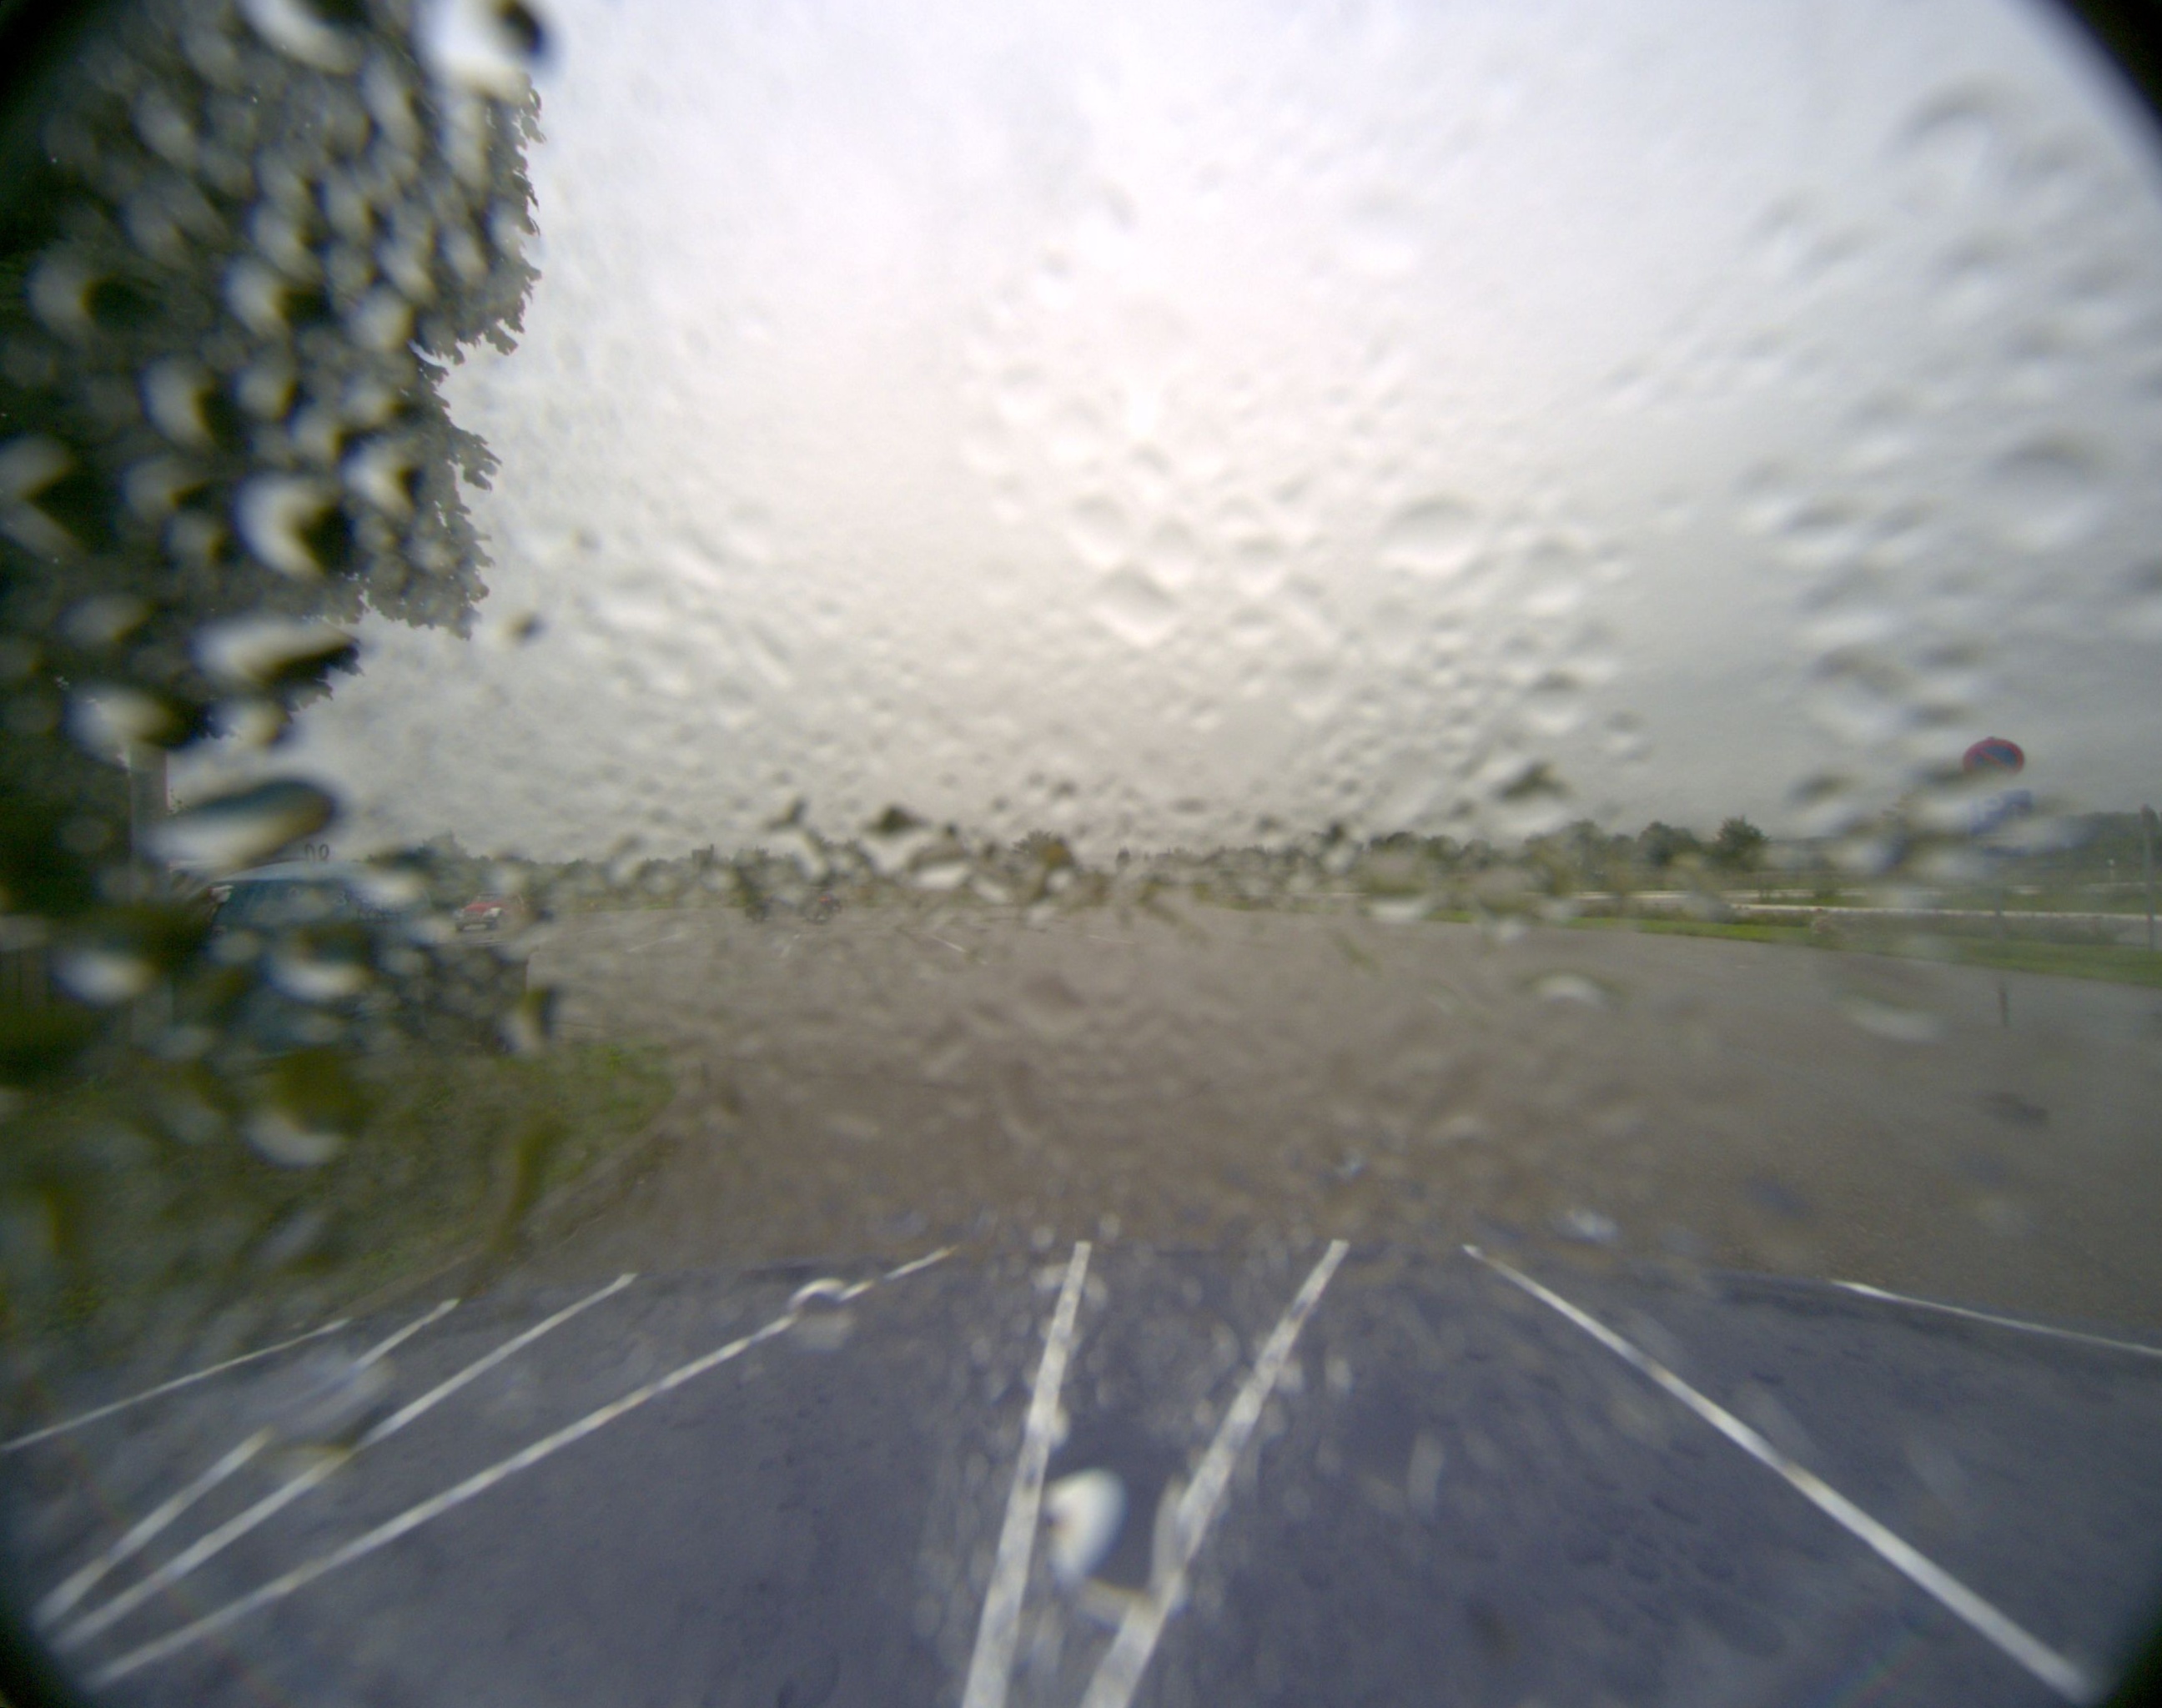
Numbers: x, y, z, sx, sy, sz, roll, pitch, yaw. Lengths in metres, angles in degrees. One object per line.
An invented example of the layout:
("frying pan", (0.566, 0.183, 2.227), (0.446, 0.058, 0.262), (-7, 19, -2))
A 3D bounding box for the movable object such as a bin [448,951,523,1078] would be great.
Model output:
("movable object such as a bin", (-4.949, 1.303, 6.312), (0.451, 0.933, 0.487), (0, -1, -42))

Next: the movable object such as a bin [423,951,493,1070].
("movable object such as a bin", (-5.419, 1.334, 6.606), (0.451, 0.911, 0.487), (0, -1, -42))

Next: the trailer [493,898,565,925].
("trailer", (-24.814, 2.578, 34.255), (1.590, 1.061, 3.027), (-2, -2, -15))

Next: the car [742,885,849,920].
("car", (-12.677, 2.152, 33.793), (4.072, 1.425, 1.781), (-2, -1, 10))

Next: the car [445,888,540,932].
("car", (-23.753, 2.210, 30.816), (1.550, 1.546, 4.052), (-1, -2, -15))
